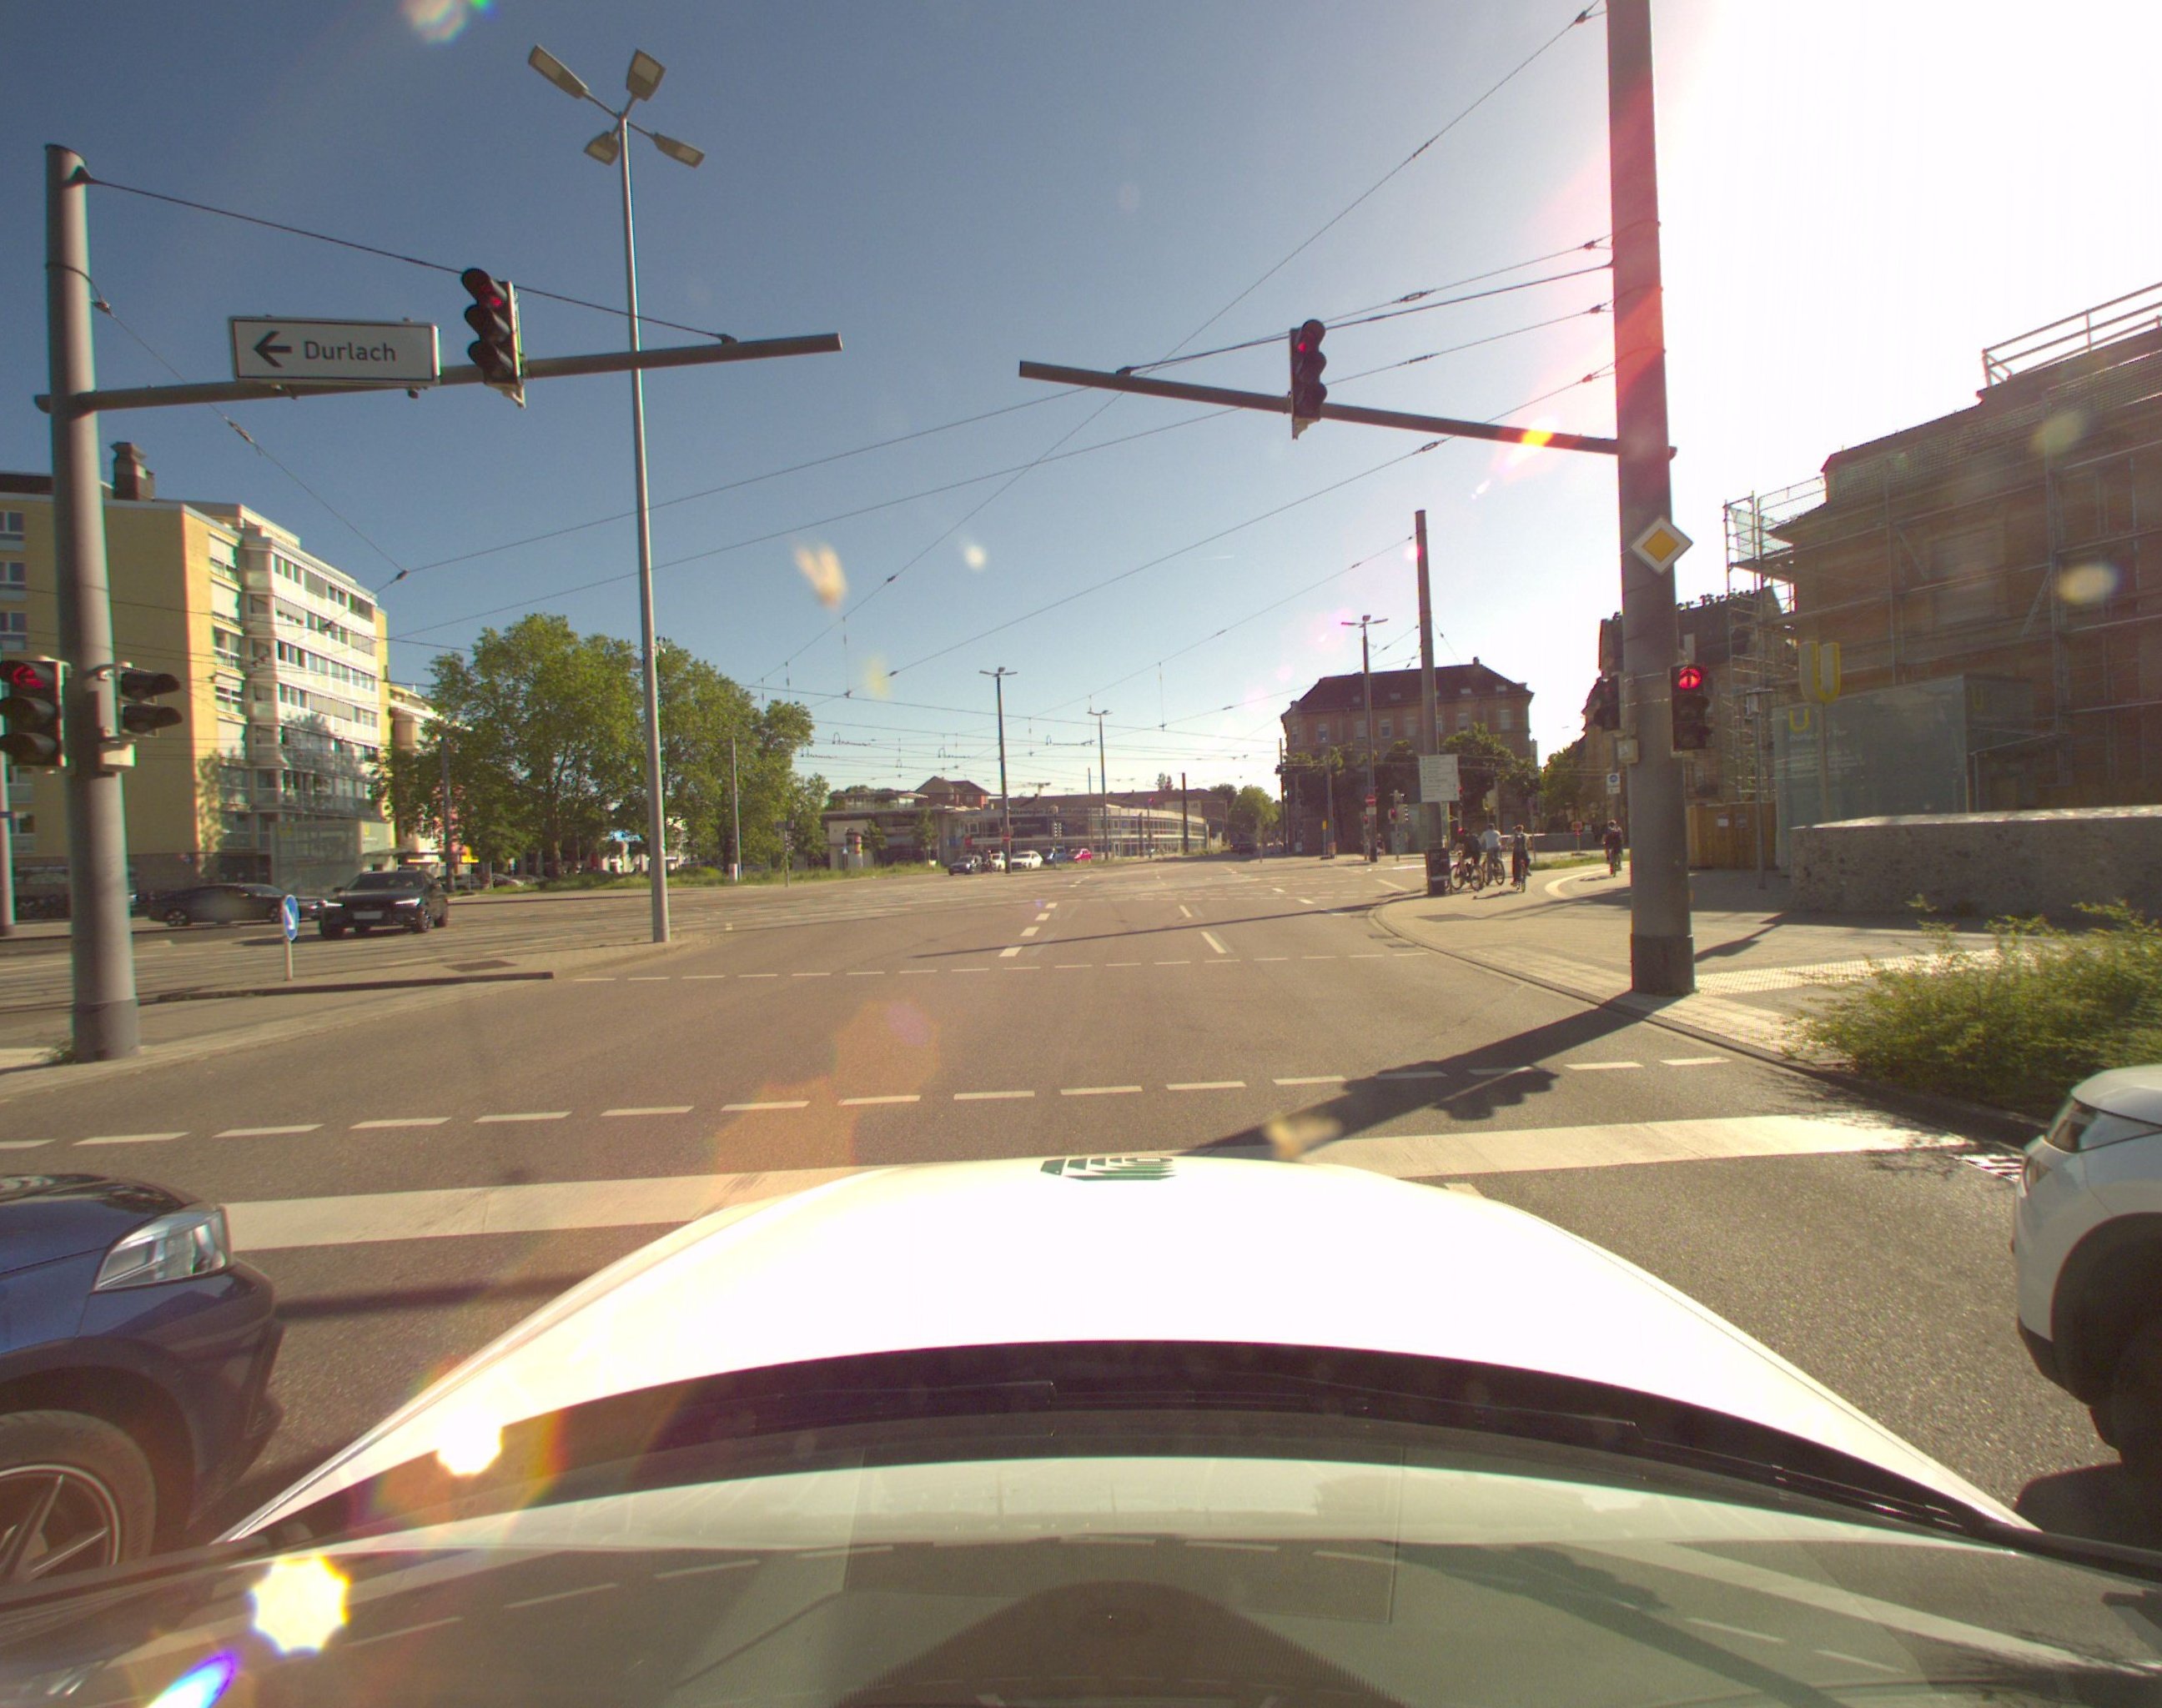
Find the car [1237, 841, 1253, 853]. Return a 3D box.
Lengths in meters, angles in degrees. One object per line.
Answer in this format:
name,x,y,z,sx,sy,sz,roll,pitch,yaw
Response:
car,22.654,-1.002,112.338,1.686,1.503,4.284,-2,0,17

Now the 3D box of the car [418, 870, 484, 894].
car,-49.717,2.155,64.309,3.742,1.662,1.585,-2,0,-18

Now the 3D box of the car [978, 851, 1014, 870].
car,-6.980,0.554,67.169,1.613,1.424,3.702,-2,0,17

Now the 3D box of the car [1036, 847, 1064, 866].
car,-2.994,0.238,79.219,1.613,1.692,3.702,-2,0,17

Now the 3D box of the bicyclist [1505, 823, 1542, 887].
bicyclist,11.402,0.016,21.018,0.679,1.598,0.983,-3,0,23

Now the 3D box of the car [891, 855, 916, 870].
car,-21.871,1.073,100.597,1.958,1.706,4.085,-2,0,2

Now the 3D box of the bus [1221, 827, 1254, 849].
bus,29.205,-2.818,150.506,3.807,3.607,24.970,-1,0,16

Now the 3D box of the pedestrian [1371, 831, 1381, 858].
pedestrian,21.860,-0.719,60.316,0.461,2.013,0.449,-3,0,-16

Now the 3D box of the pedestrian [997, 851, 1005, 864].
pedestrian,-7.450,0.328,75.484,0.419,1.204,0.684,-2,0,20

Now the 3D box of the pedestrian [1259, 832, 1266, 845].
pedestrian,23.693,-2.035,106.102,0.797,1.632,0.720,-2,0,11

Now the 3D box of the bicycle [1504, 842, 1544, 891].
bicycle,11.430,0.296,21.051,0.679,1.163,1.894,-3,0,23

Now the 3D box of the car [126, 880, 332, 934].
car,-29.528,1.805,28.422,4.566,1.501,1.853,-2,0,-18

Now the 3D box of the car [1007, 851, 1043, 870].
car,-4.474,0.514,65.226,1.613,1.382,3.754,-2,0,17

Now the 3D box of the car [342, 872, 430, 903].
car,-42.756,2.061,50.180,3.742,1.662,1.585,-2,0,-18

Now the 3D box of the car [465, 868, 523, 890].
car,-51.292,2.183,71.233,3.742,1.662,1.585,-2,0,-18

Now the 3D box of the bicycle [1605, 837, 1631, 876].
bicycle,15.943,0.052,24.160,0.511,1.044,1.780,-4,0,36

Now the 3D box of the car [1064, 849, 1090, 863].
car,-0.442,0.245,86.290,1.613,1.364,3.703,-2,0,18

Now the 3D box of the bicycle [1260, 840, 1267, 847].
bicycle,23.656,-1.328,105.619,0.738,0.870,1.937,-2,0,12

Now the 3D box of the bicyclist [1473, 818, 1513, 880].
bicyclist,12.327,-0.157,24.371,0.742,1.778,0.926,-3,0,9

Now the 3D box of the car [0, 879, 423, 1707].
car,-2.667,0.799,0.143,1.704,1.445,4.034,-1,0,2

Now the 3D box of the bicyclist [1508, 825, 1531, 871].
bicyclist,15.480,-0.208,28.738,0.566,1.568,0.952,-2,0,22

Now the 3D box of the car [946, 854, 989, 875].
car,-8.500,0.778,61.246,1.689,1.354,3.719,-2,0,19

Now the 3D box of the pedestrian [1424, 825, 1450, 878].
pedestrian,10.783,-0.072,24.663,0.544,1.562,0.861,-2,0,14

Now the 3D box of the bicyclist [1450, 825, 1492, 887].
bicyclist,10.795,0.057,22.587,0.623,1.637,0.995,-4,0,2

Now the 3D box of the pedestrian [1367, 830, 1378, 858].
pedestrian,21.379,-0.715,59.724,0.574,2.013,0.449,-3,0,-16

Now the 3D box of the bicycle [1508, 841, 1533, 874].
bicycle,15.485,0.108,28.729,0.566,1.125,1.749,-2,0,22

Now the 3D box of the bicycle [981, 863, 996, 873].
bicycle,-6.914,1.026,60.611,0.419,0.718,1.642,-2,0,19

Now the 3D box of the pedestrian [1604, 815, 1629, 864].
pedestrian,15.915,-0.449,24.196,0.511,1.402,0.968,-4,0,36

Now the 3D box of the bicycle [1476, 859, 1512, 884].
bicycle,12.380,0.510,24.448,0.534,0.655,1.471,-3,0,9

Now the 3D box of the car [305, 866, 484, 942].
car,-17.634,1.200,21.208,1.866,1.659,4.053,-2,0,-13

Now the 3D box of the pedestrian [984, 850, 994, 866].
pedestrian,-6.892,0.280,60.764,0.419,1.204,0.753,-2,0,19

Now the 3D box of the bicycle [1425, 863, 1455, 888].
bicycle,10.865,0.636,24.697,0.533,0.655,1.732,-5,0,15

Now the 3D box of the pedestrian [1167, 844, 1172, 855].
pedestrian,13.862,-0.672,128.109,0.537,1.688,0.634,-2,0,24

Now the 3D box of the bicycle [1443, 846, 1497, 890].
bicycle,10.820,0.371,22.716,0.623,1.114,1.852,-4,0,3
